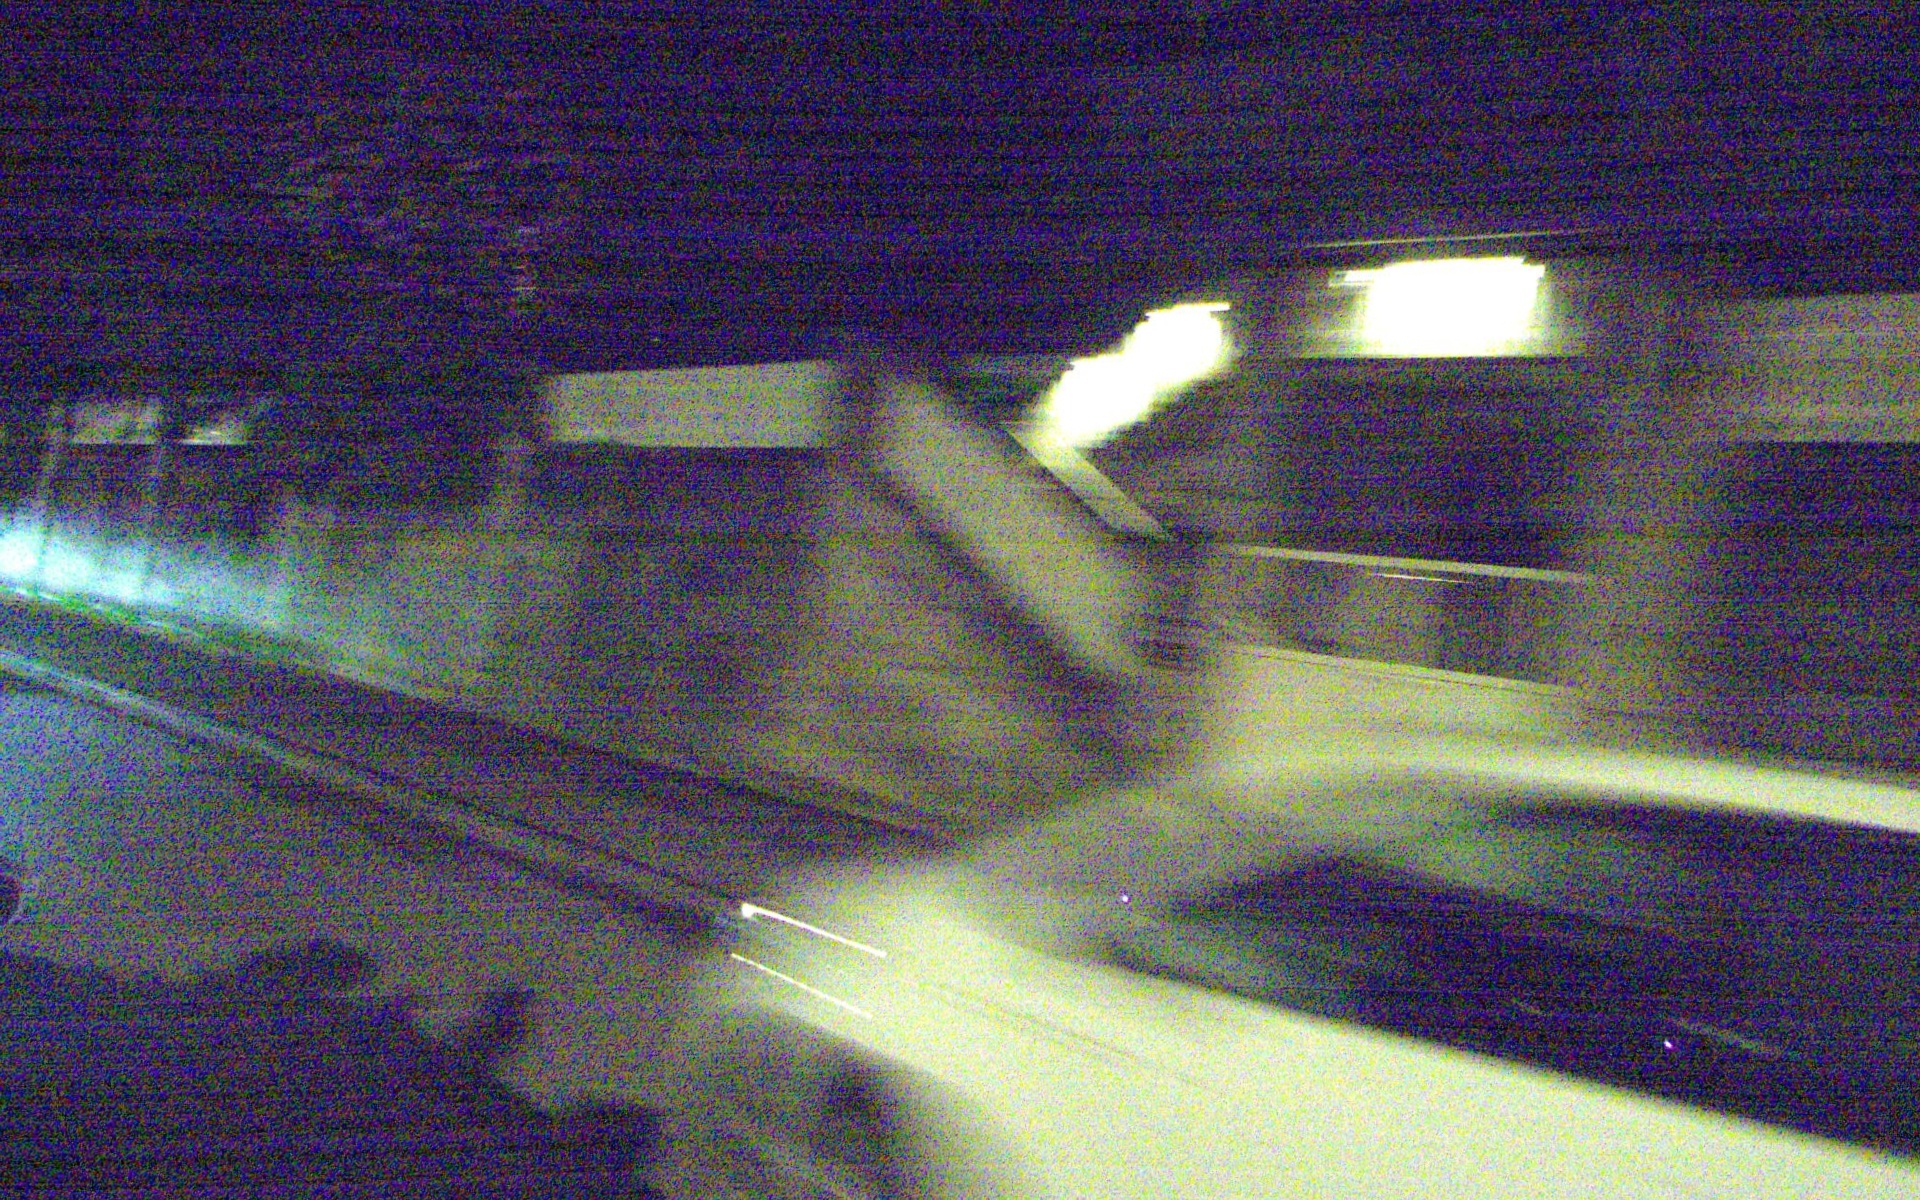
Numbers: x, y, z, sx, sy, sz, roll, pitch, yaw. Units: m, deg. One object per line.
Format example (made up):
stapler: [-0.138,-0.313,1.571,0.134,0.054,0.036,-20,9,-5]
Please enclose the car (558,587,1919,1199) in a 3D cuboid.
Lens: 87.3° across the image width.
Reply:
car: [1.087,0.971,2.117,3.654,1.479,1.611,8,1,31]
